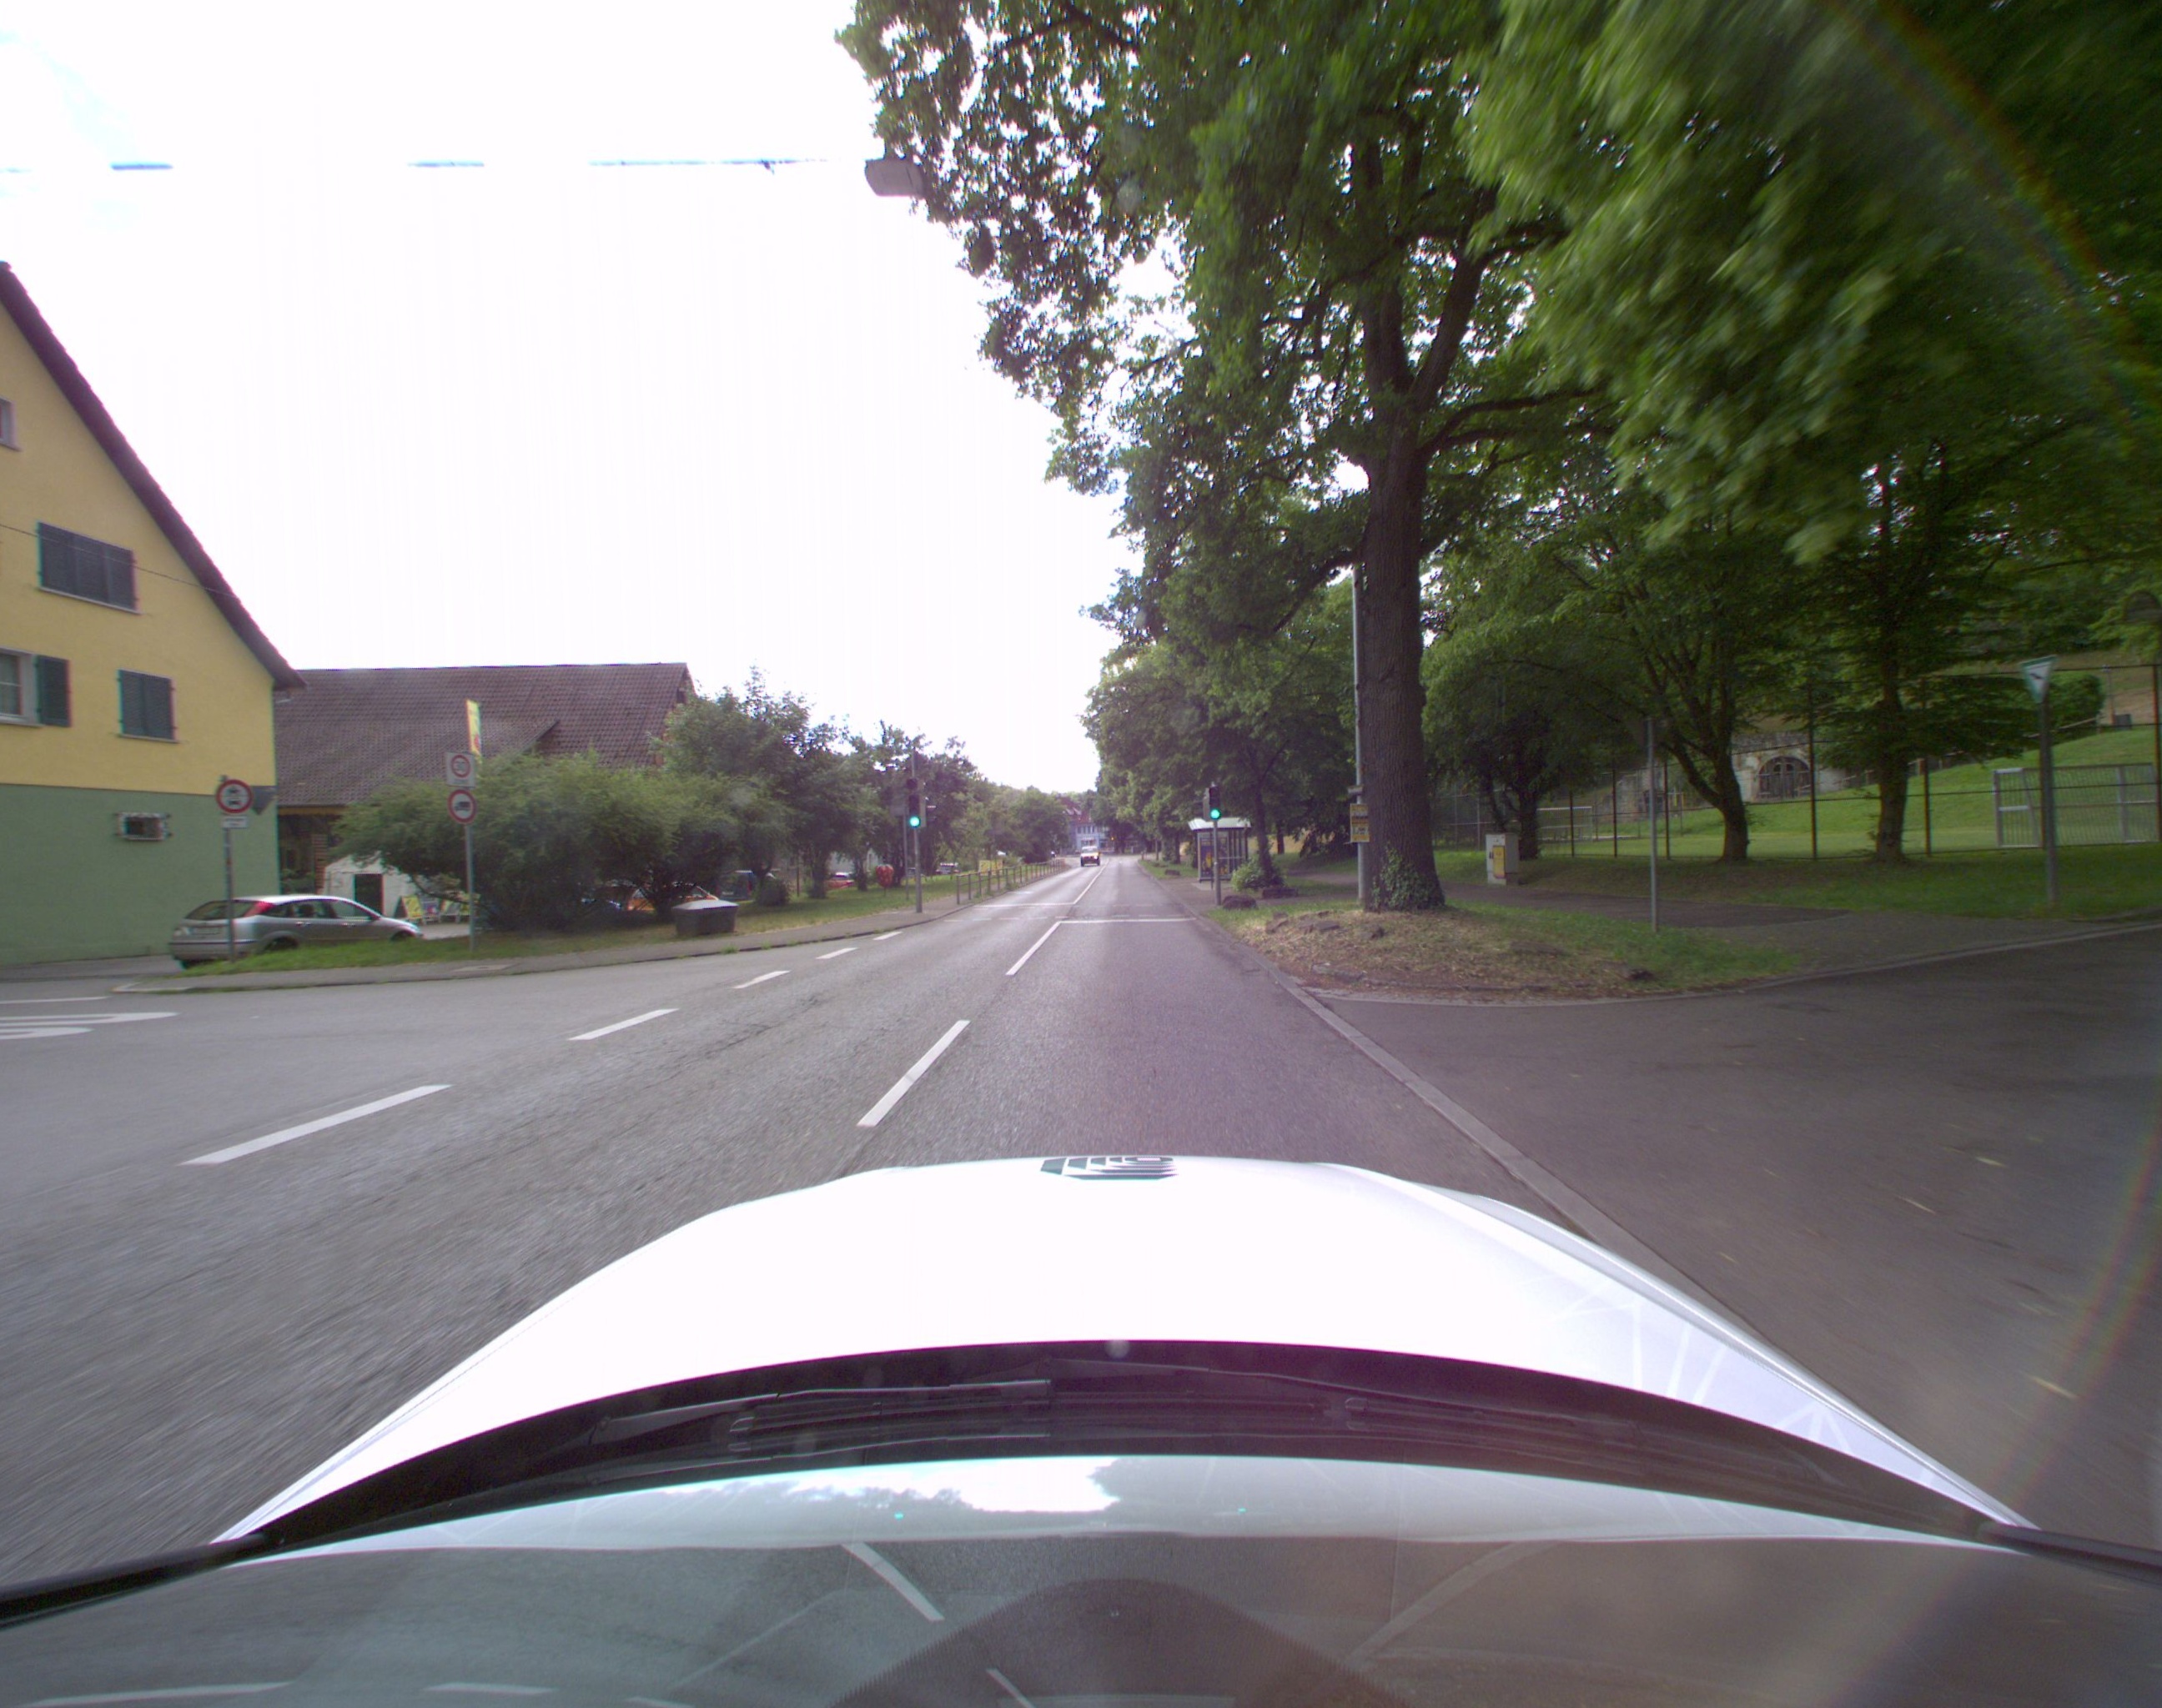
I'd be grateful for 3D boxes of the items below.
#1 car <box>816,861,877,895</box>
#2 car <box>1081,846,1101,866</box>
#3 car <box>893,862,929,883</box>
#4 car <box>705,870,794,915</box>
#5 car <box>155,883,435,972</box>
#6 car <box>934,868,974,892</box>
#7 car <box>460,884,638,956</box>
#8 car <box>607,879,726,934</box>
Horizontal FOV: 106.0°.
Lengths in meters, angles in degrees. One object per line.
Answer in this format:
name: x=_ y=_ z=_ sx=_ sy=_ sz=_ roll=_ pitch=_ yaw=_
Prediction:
car: x=-12.889 y=1.299 z=45.032 sx=1.802 sy=1.618 sz=4.006 roll=-4 pitch=0 yaw=6
car: x=1.040 y=0.209 z=82.721 sx=1.838 sy=1.930 sz=4.772 roll=-2 pitch=0 yaw=3
car: x=-11.765 y=1.289 z=56.516 sx=1.544 sy=1.278 sz=2.560 roll=-3 pitch=0 yaw=8
car: x=-14.295 y=1.612 z=35.390 sx=1.802 sy=1.618 sz=4.006 roll=-4 pitch=0 yaw=6
car: x=-16.084 y=1.423 z=17.028 sx=1.639 sy=1.344 sz=4.155 roll=-4 pitch=0 yaw=2
car: x=-10.145 y=2.056 z=65.265 sx=1.910 sy=1.695 sz=4.010 roll=-3 pitch=0 yaw=9
car: x=-15.545 y=1.865 z=24.143 sx=1.984 sy=1.618 sz=4.454 roll=-4 pitch=0 yaw=5
car: x=-15.138 y=1.880 z=30.024 sx=1.939 sy=1.618 sz=4.006 roll=-4 pitch=0 yaw=6
